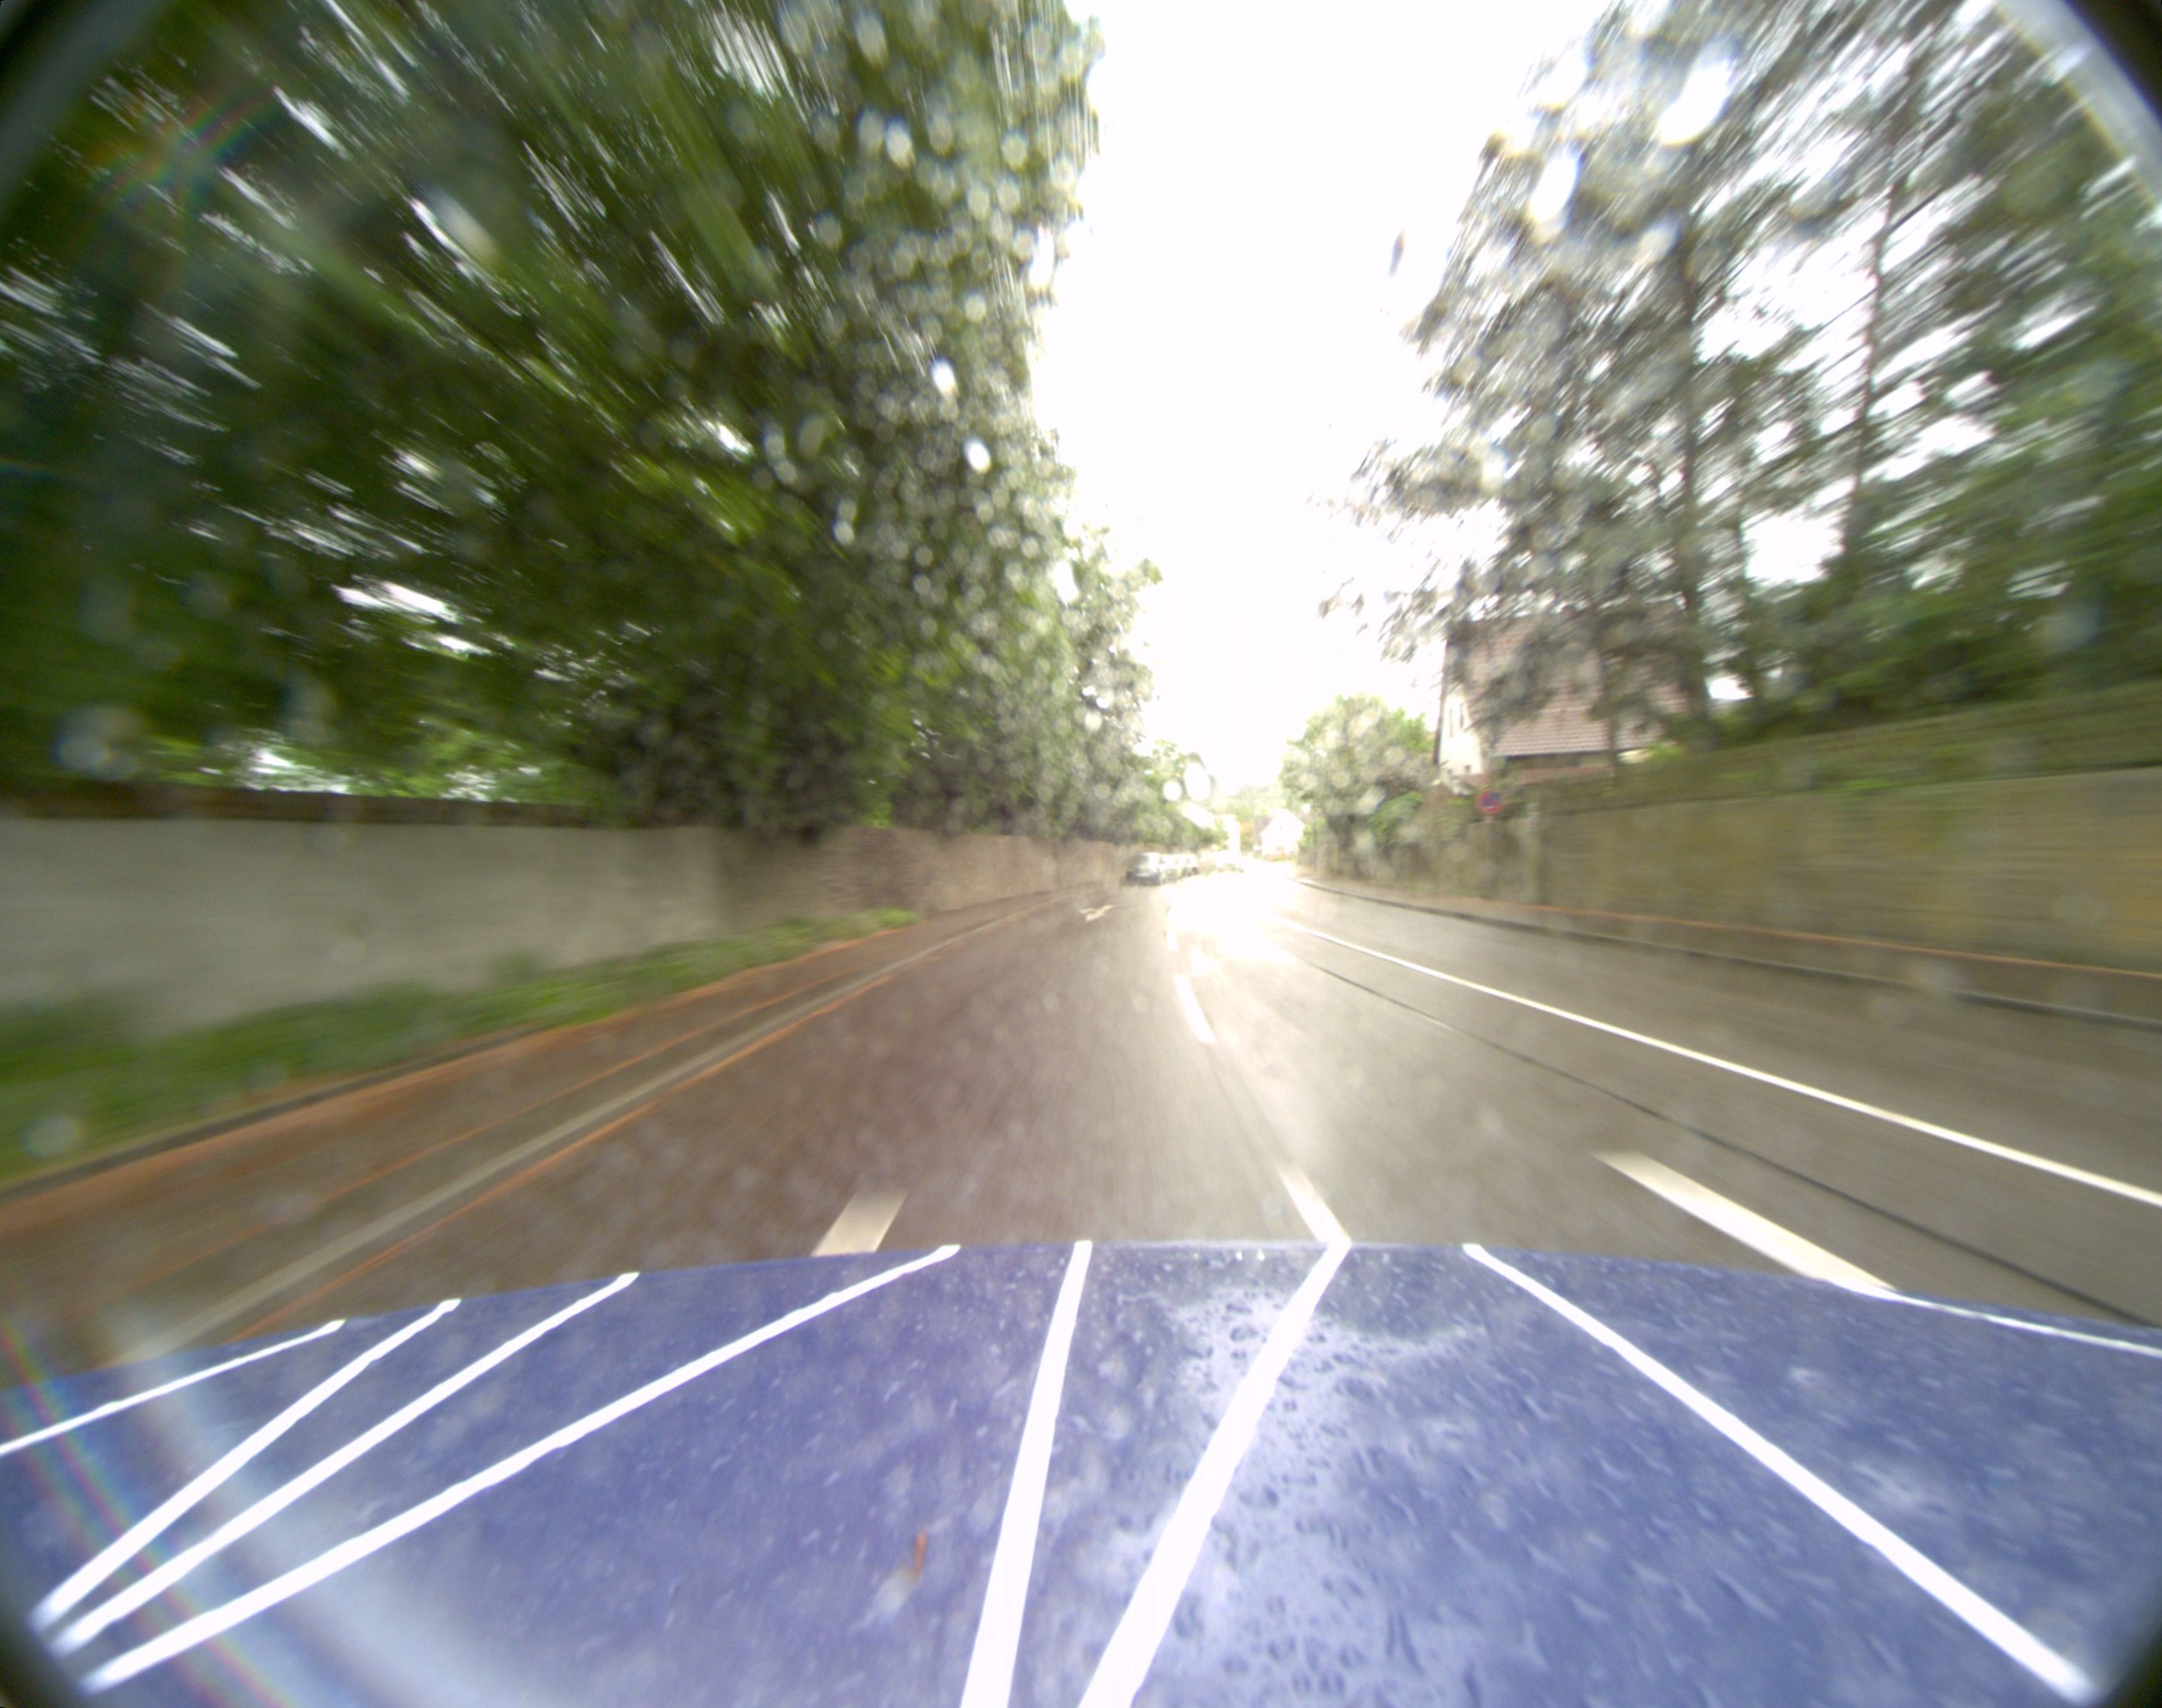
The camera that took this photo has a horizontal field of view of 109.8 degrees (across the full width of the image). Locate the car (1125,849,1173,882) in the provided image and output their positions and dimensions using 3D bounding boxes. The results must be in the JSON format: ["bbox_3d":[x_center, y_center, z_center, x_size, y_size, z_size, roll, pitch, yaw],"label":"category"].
[{"bbox_3d":[3.412,0.543,37.335,1.792,1.524,3.804,-1,1,14],"label":"car"}]

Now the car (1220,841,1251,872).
[{"bbox_3d":[11.089,0.147,54.457,1.997,2.002,4.003,-2,2,13],"label":"car"}]

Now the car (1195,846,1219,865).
[{"bbox_3d":[11.100,0.135,66.783,1.831,1.620,4.157,-1,0,13],"label":"car"}]

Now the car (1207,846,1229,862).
[{"bbox_3d":[14.353,-0.014,79.293,1.831,1.620,4.158,-1,0,15],"label":"car"}]

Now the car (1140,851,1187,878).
[{"bbox_3d":[4.698,0.559,42.742,1.996,1.411,4.489,-1,0,14],"label":"car"}]

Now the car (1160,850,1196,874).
[{"bbox_3d":[6.199,0.499,48.319,1.762,1.411,4.157,-1,0,14],"label":"car"}]

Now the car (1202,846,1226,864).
[{"bbox_3d":[12.800,0.084,73.126,1.831,1.620,4.158,-1,0,15],"label":"car"}]

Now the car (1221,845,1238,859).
[{"bbox_3d":[19.627,-0.292,100.513,1.947,1.783,4.190,-1,1,14],"label":"car"}]

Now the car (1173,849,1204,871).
[{"bbox_3d":[7.605,0.398,53.475,1.762,1.411,4.157,-1,0,13],"label":"car"}]
